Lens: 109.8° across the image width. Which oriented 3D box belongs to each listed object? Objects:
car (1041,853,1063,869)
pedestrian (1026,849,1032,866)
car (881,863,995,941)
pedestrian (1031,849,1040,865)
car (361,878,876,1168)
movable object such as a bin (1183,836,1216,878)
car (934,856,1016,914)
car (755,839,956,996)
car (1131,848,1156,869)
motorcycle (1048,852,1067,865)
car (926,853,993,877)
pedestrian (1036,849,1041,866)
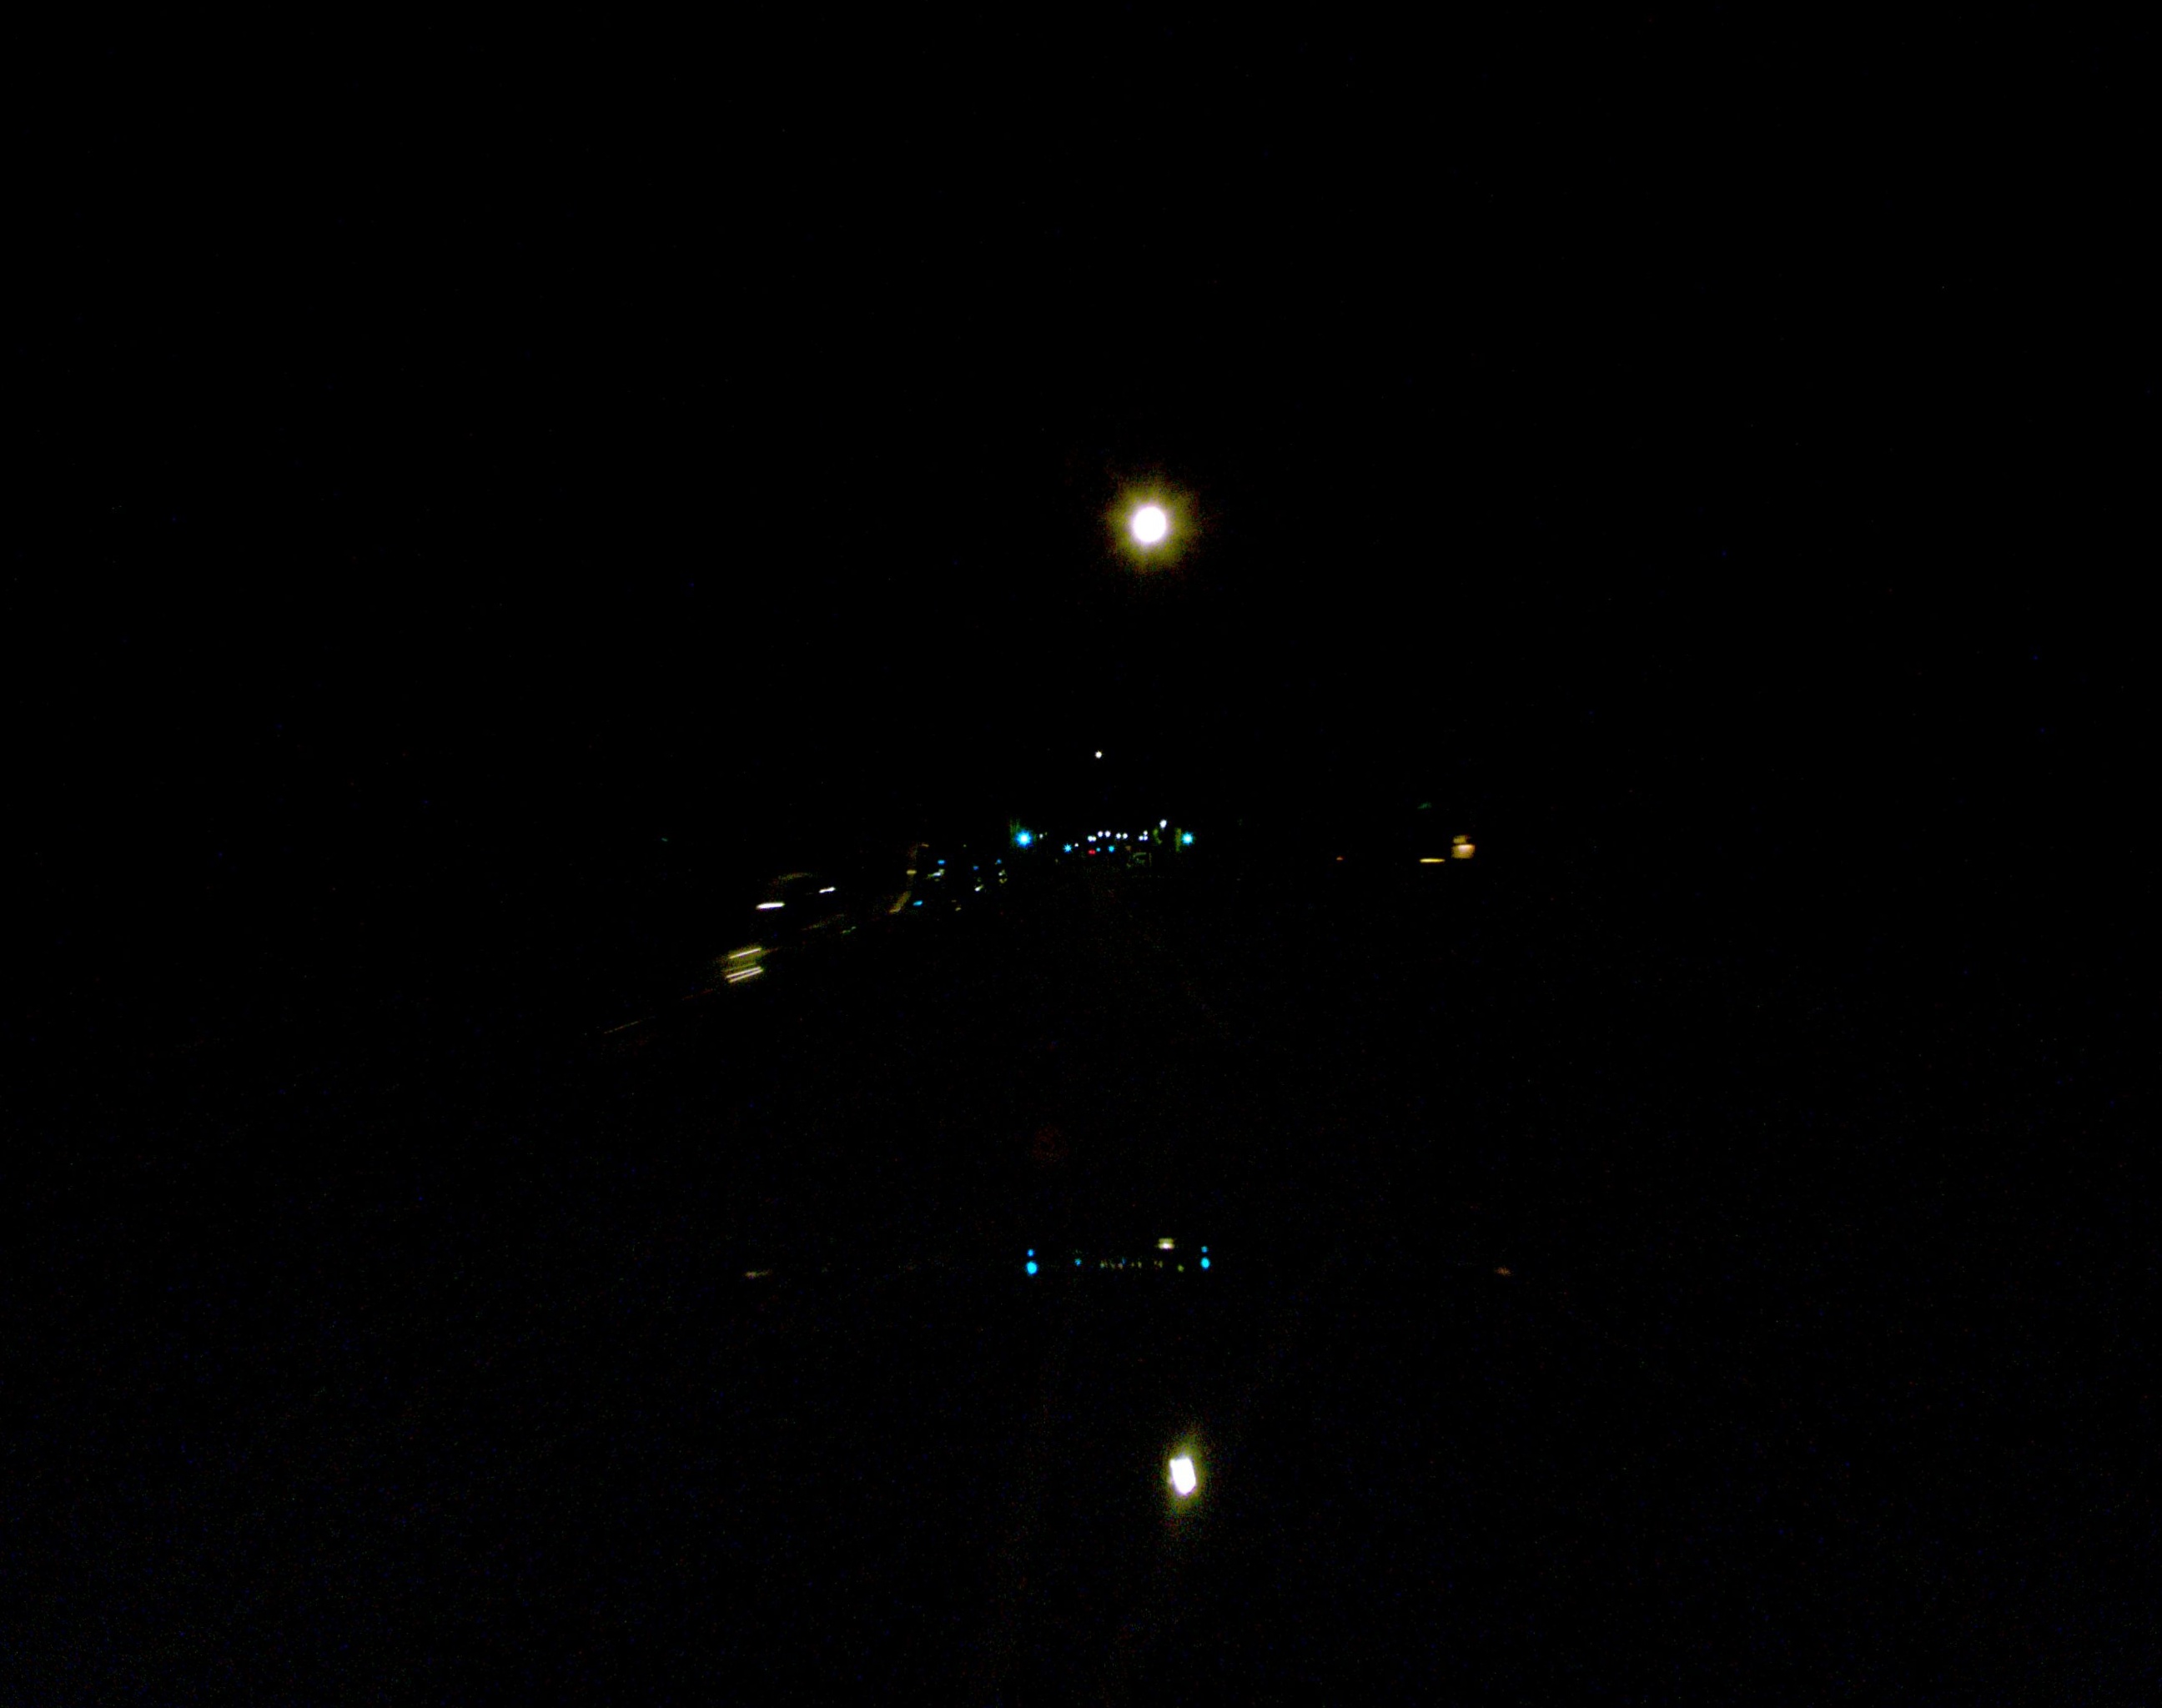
[{"bbox_3d":[-2.663,0.633,70.238,1.740,1.446,4.000,1,1,2],"label":"car"},{"bbox_3d":[-5.118,0.351,74.931,0.478,1.699,0.571,1,1,1],"label":"pedestrian"},{"bbox_3d":[-3.031,0.959,17.015,1.690,1.412,4.443,1,0,0],"label":"car"},{"bbox_3d":[-4.631,0.284,77.267,0.809,1.622,0.966,-1,1,1],"label":"pedestrian"},{"bbox_3d":[-3.081,0.981,6.283,1.732,1.411,4.322,0,0,-2],"label":"car"},{"bbox_3d":[7.729,0.184,49.723,1.575,2.611,3.909,1,1,1],"label":"movable object such as a bin"},{"bbox_3d":[-2.993,0.837,22.297,1.744,1.469,4.000,3,0,1],"label":"car"},{"bbox_3d":[-3.036,0.748,11.187,1.740,1.844,4.315,1,0,-1],"label":"car"},{"bbox_3d":[5.806,0.392,70.610,1.888,1.832,4.814,0,1,-1],"label":"car"},{"bbox_3d":[-2.570,0.489,83.848,1.948,1.345,0.761,0,1,-35],"label":"motorcycle"},{"bbox_3d":[-7.796,0.673,48.945,4.025,1.414,1.851,0,2,-1],"label":"car"},{"bbox_3d":[-4.203,0.354,75.172,0.508,1.699,0.705,1,1,1],"label":"pedestrian"}]
